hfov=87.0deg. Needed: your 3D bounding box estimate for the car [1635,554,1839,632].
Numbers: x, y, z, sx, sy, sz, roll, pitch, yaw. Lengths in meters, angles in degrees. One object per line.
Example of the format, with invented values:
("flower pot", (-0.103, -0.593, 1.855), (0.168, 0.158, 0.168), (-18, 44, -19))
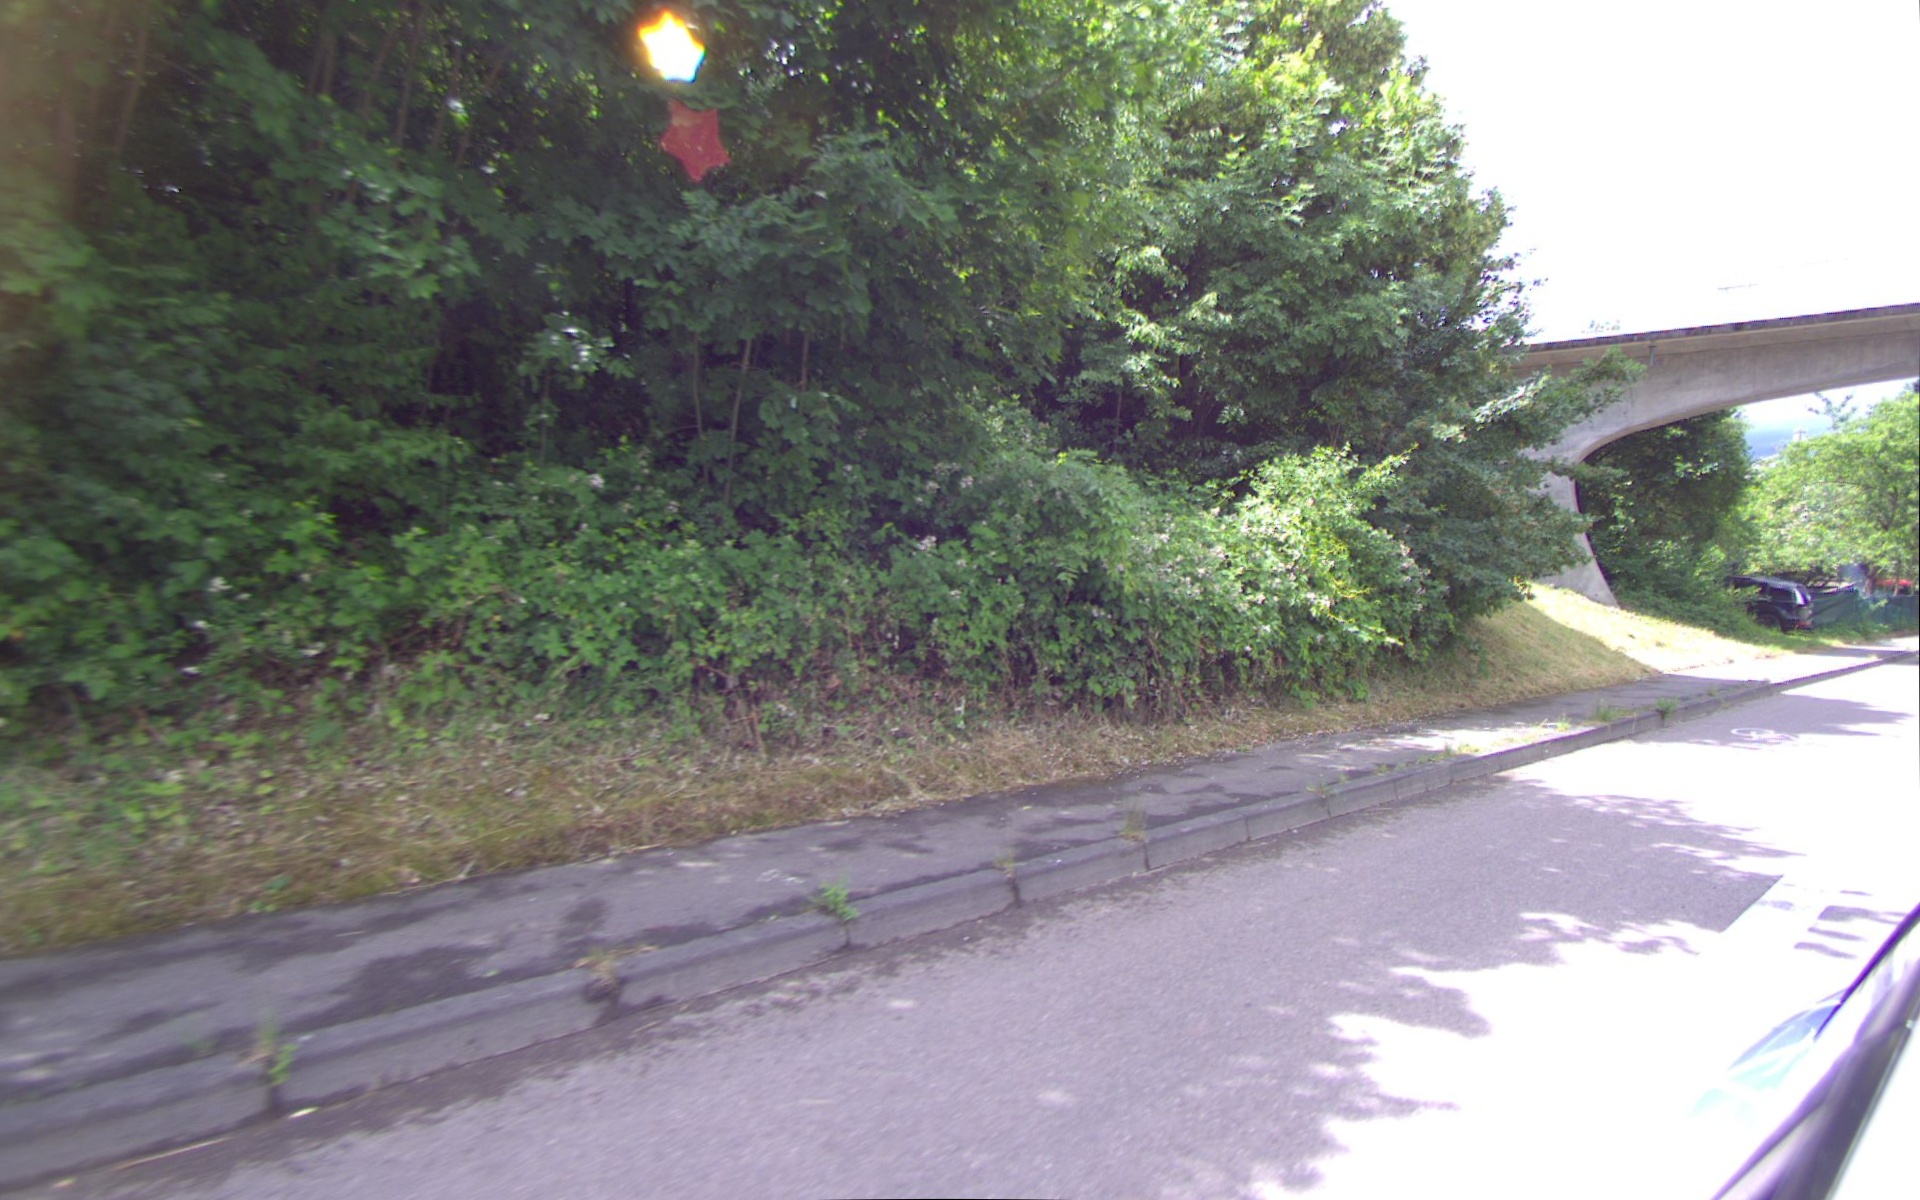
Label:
("car", (24.022, -0.316, 31.458), (1.964, 1.689, 4.543), (-3, 10, -38))
